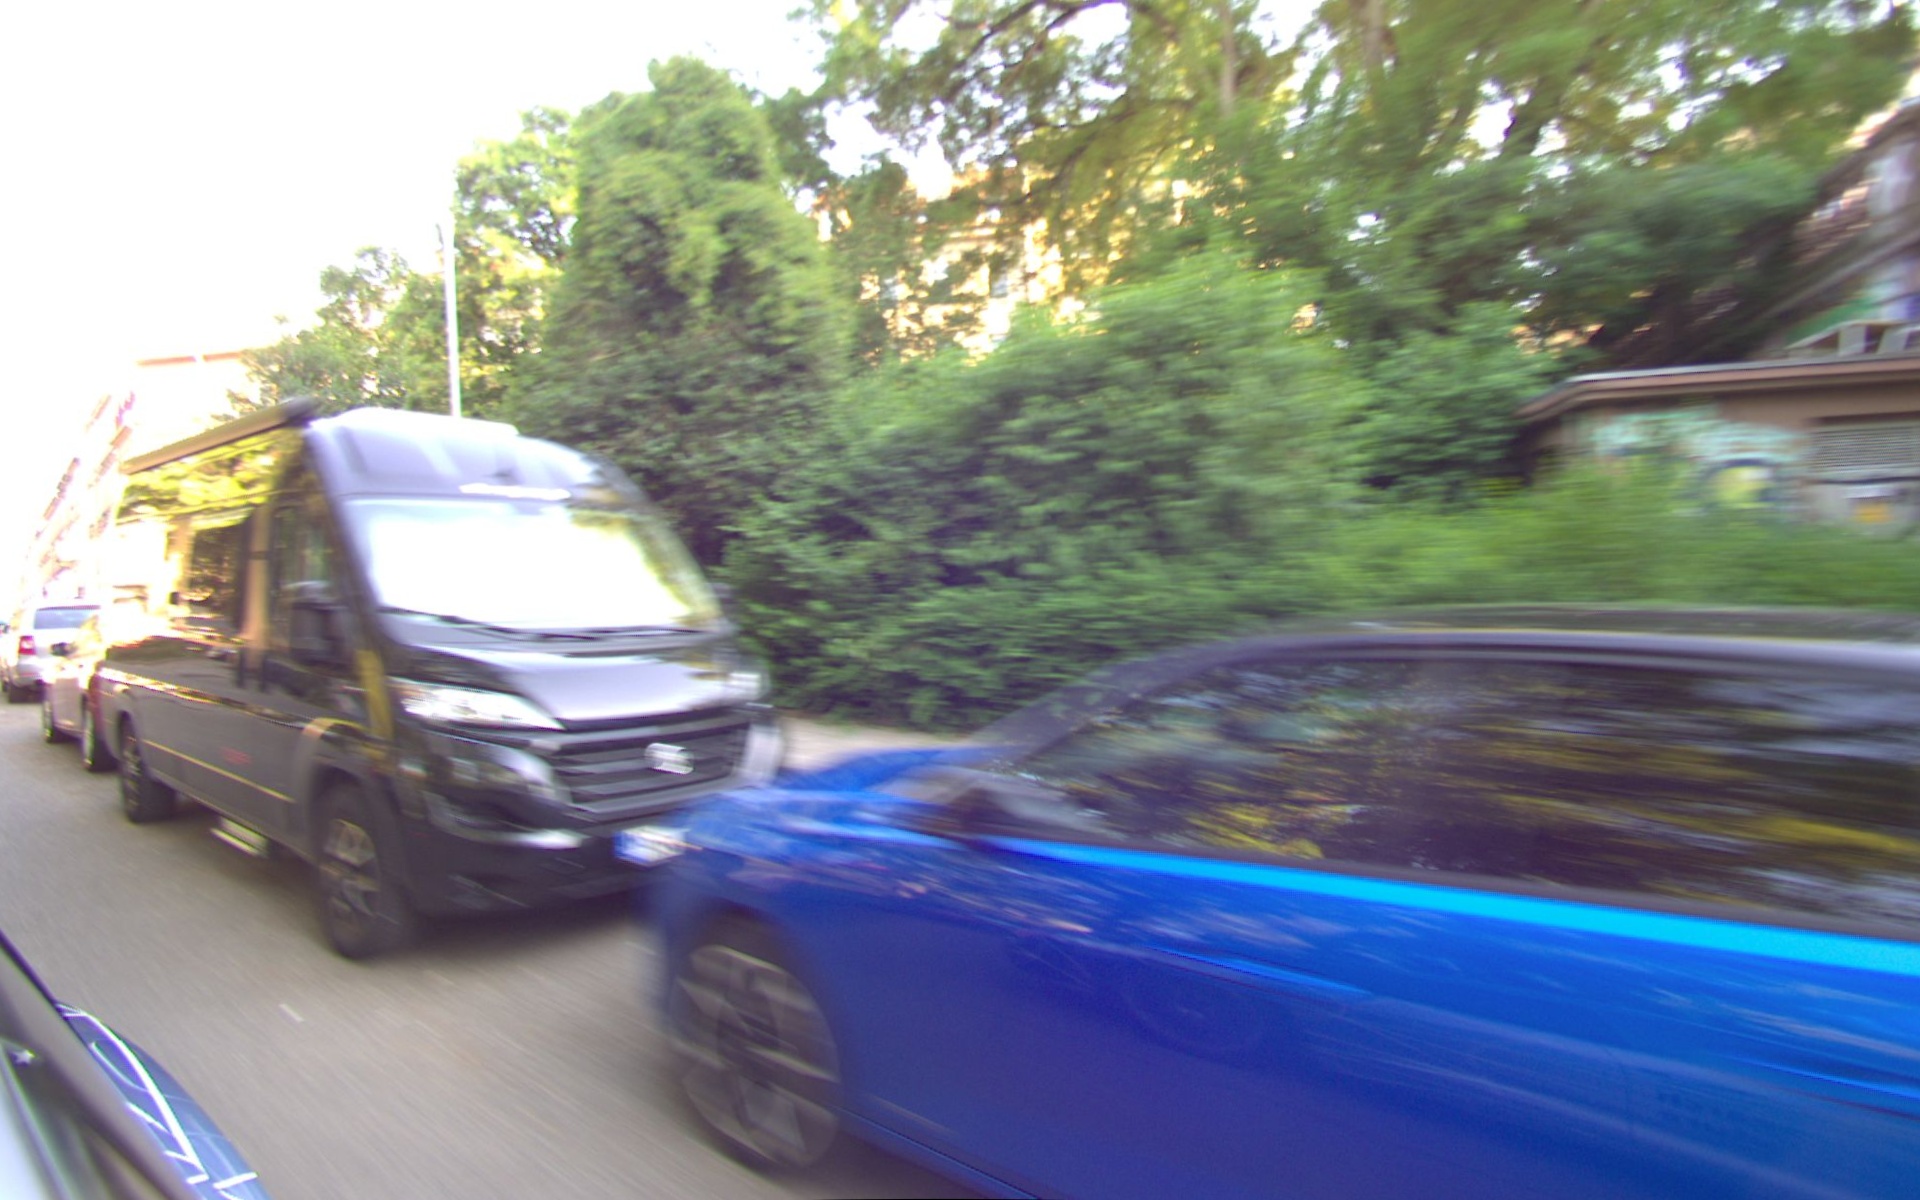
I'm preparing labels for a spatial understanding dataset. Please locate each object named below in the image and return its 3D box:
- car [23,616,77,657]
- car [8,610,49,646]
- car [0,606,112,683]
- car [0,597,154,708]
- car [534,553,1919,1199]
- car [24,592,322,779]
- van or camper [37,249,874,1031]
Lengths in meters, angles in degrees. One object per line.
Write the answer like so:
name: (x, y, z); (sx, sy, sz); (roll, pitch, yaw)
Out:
car: (-42.376, 1.657, 47.113); (1.679, 1.818, 4.196); (0, -1, -45)
car: (-56.372, 1.655, 61.253); (1.679, 2.132, 4.196); (0, -1, -45)
car: (-18.484, 0.828, 20.499); (1.679, 1.410, 4.196); (0, -1, -45)
car: (-14.031, 0.733, 15.905); (1.679, 1.509, 4.552); (0, -1, -45)
car: (0.925, 0.679, 2.390); (4.372, 1.477, 1.727); (-1, 2, 40)
car: (-8.121, 0.714, 10.300); (4.227, 1.518, 1.681); (-1, -1, 42)
van or camper: (-3.609, 0.129, 6.230); (6.417, 2.541, 2.213); (-1, 2, 41)
